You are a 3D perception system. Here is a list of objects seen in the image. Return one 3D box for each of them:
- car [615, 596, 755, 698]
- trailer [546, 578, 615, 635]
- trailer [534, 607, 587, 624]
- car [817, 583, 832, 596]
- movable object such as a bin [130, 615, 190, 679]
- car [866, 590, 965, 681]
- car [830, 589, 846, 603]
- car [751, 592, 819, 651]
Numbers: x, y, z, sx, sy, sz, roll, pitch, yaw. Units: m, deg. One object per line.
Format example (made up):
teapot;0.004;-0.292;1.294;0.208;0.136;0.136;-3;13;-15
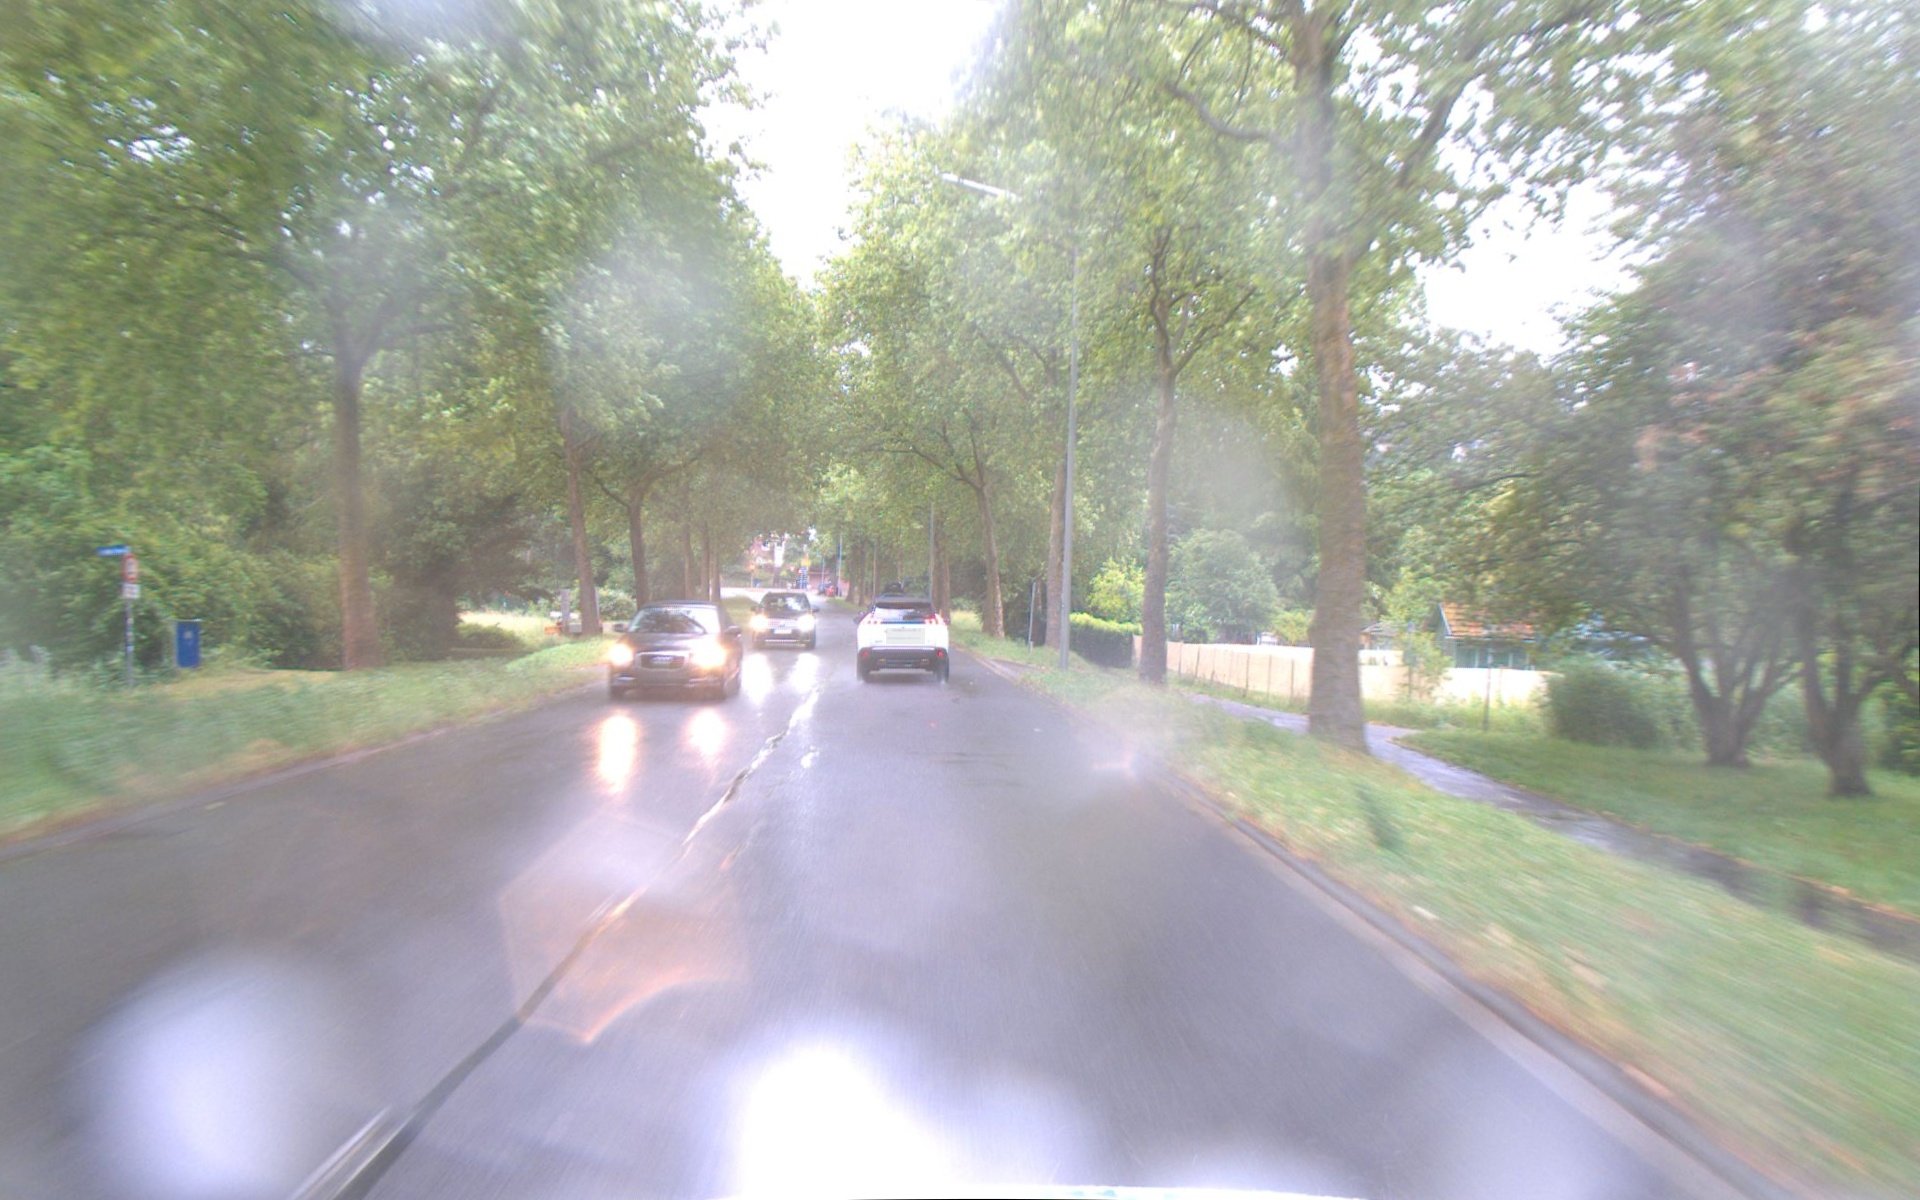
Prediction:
car;-4.193;0.666;25.753;1.697;1.448;4.222;0;0;-3
trailer;-18.397;0.291;80.433;2.436;2.612;5.327;2;0;-5
trailer;-27.952;1.086;115.811;3.491;1.199;1.817;0;0;-12
car;-17.760;-1.338;217.276;1.790;1.624;3.652;2;0;-3
movable object such as a bin;-18.839;1.095;38.970;0.944;1.447;0.965;2;0;-5
car;-0.887;0.639;32.179;1.758;1.606;3.843;2;0;-2
car;-15.328;-0.503;207.807;1.790;1.624;3.652;2;0;-3
car;-5.197;0.610;49.436;1.697;1.616;4.308;2;0;-2
